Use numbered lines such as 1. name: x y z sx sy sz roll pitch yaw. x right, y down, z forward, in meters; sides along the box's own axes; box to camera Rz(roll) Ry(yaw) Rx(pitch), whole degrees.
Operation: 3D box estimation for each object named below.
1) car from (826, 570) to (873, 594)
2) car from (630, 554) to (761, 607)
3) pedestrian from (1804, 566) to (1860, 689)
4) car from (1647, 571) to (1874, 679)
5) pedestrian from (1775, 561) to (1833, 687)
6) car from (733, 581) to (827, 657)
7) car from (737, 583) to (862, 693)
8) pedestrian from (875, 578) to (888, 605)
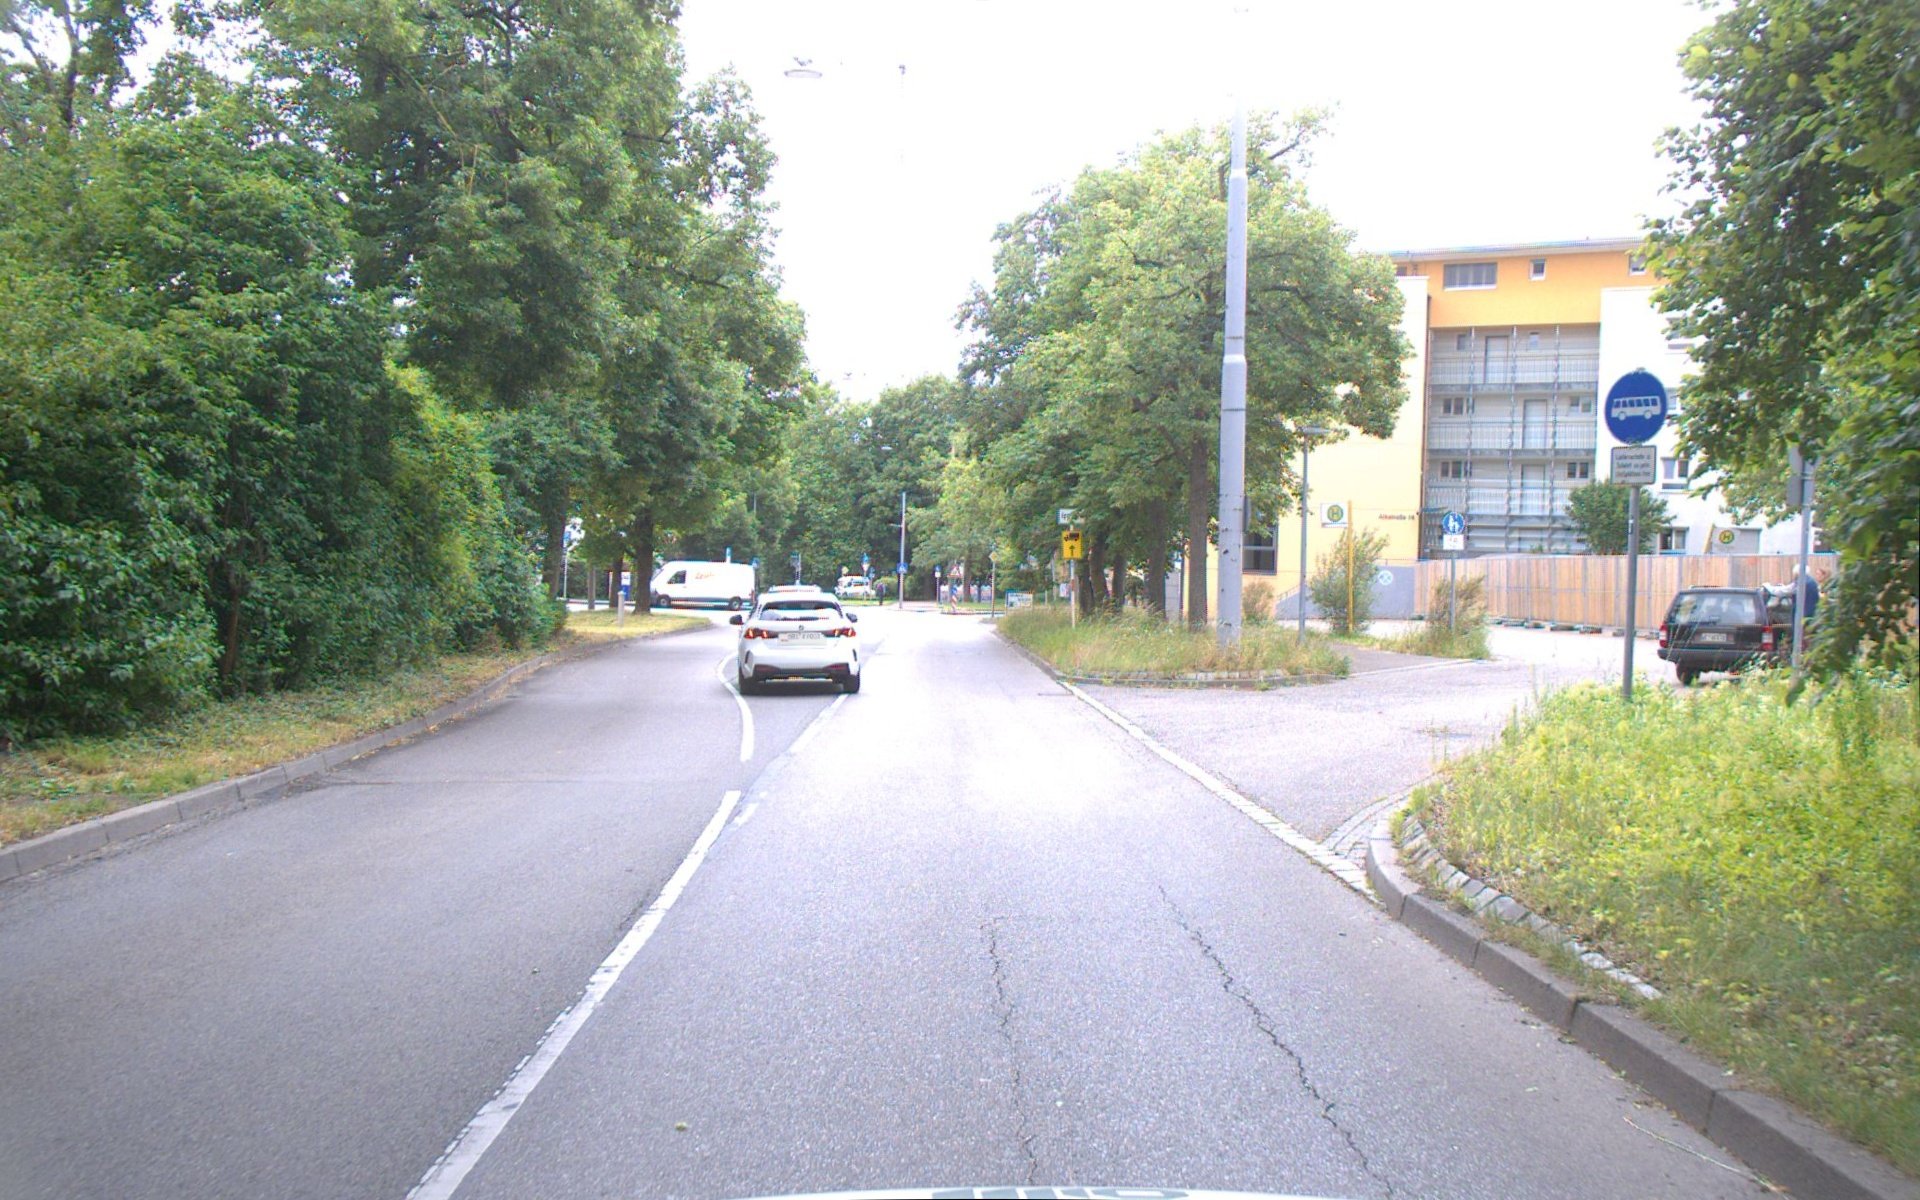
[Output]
1. car: -12.159 -1.941 182.279 2.097 2.337 5.362 5 1 37
2. car: -14.449 -1.059 90.724 6.910 2.565 2.057 2 2 -39
3. pedestrian: 12.898 0.391 24.460 0.492 1.755 0.531 -3 4 -31
4. car: 12.730 0.336 26.153 1.840 1.543 4.709 0 0 44
5. pedestrian: 12.283 0.339 24.071 0.468 1.784 0.578 -3 4 -31
6. car: -4.096 0.397 38.096 1.884 1.601 3.998 1 1 -3
7. car: -2.402 0.531 25.567 1.760 1.544 4.204 0 0 -4
8. pedestrian: -5.769 -0.617 121.594 0.905 1.903 1.018 -2 3 -5
